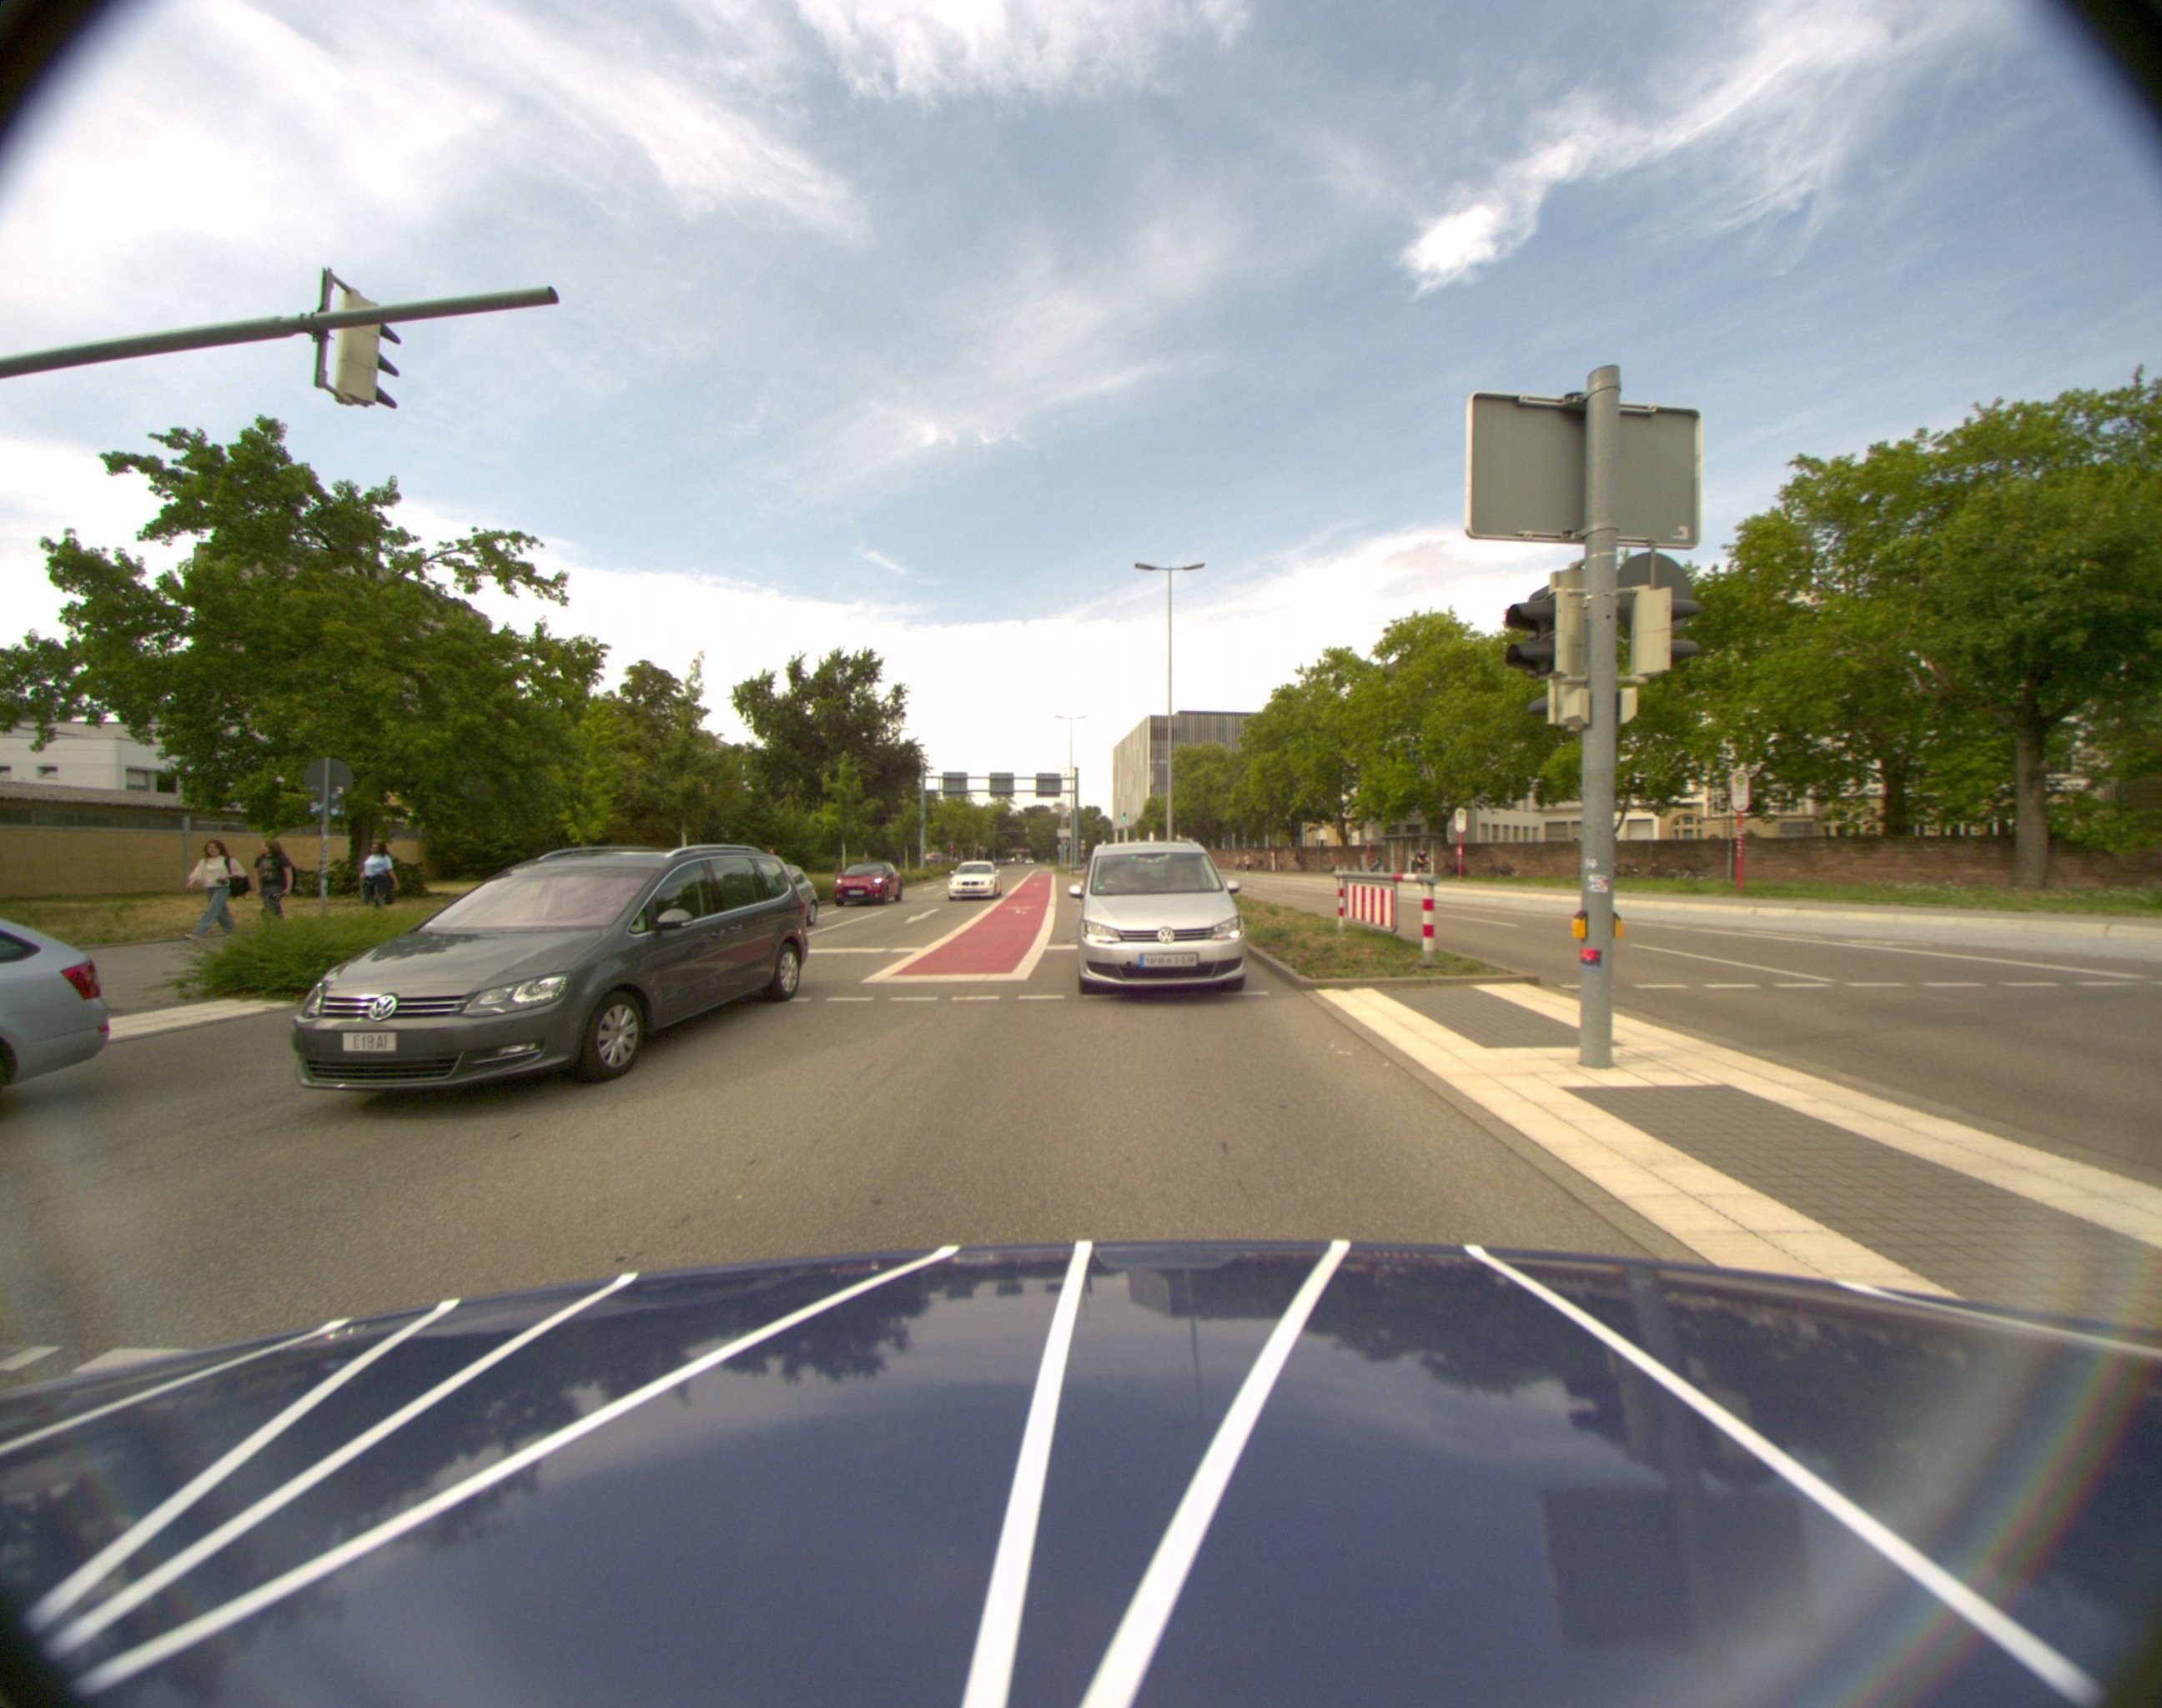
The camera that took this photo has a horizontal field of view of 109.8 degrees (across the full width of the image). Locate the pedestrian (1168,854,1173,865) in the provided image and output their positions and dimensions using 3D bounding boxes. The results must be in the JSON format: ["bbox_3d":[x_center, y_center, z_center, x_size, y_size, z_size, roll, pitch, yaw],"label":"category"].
[{"bbox_3d":[11.358,0.707,96.359,0.402,1.449,0.473,-2,1,-8],"label":"pedestrian"}]

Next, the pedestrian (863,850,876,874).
[{"bbox_3d":[-15.654,0.570,56.196,0.714,1.701,0.695,-2,1,-2],"label":"pedestrian"}]

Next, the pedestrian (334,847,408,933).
[{"bbox_3d":[-14.618,0.715,15.664,0.714,1.701,0.799,-2,1,-6],"label":"pedestrian"}]

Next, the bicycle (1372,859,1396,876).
[{"bbox_3d":[21.927,0.971,54.999,2.103,1.182,0.756,3,-1,-42],"label":"bicycle"}]

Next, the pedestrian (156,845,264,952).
[{"bbox_3d":[-14.660,0.723,12.824,0.840,1.701,0.798,-2,1,-17],"label":"pedestrian"}]

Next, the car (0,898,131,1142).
[{"bbox_3d":[-7.643,1.094,3.066,1.824,1.466,4.528,-2,1,1],"label":"car"}]

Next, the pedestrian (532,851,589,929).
[{"bbox_3d":[-11.855,0.803,17.330,0.734,1.701,0.693,-2,1,1],"label":"pedestrian"}]

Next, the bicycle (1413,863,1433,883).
[{"bbox_3d":[17.504,0.958,38.875,0.505,0.930,1.973,0,2,11],"label":"bicycle"}]

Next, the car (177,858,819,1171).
[{"bbox_3d":[-4.085,0.924,6.603,1.759,1.641,4.686,-2,1,2],"label":"car"}]

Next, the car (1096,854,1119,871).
[{"bbox_3d":[2.447,0.780,70.362,1.789,1.481,4.129,2,0,-2],"label":"car"}]

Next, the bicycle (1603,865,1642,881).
[{"bbox_3d":[29.345,1.022,41.227,0.359,0.859,1.806,2,-1,-23],"label":"bicycle"}]

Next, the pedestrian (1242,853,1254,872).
[{"bbox_3d":[14.625,0.722,66.514,0.755,1.612,0.665,-2,1,-8],"label":"pedestrian"}]

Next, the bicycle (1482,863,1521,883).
[{"bbox_3d":[26.189,1.182,47.393,0.760,1.182,2.094,2,-1,-24],"label":"bicycle"}]

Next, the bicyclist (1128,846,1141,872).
[{"bbox_3d":[3.491,0.336,49.830,0.777,1.701,1.086,2,-1,1],"label":"bicyclist"}]

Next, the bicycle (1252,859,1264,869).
[{"bbox_3d":[17.425,0.975,74.794,0.433,0.882,1.574,-4,0,-13],"label":"bicycle"}]

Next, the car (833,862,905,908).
[{"bbox_3d":[-7.374,1.033,26.737,1.671,1.407,3.456,-2,1,-3],"label":"car"}]

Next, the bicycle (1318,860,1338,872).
[{"bbox_3d":[20.418,1.002,62.819,0.662,0.882,1.573,-4,1,-22],"label":"bicycle"}]

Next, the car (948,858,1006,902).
[{"bbox_3d":[-3.922,0.940,29.315,1.759,1.450,4.222,-2,1,-2],"label":"car"}]

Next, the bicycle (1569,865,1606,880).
[{"bbox_3d":[28.588,1.034,42.906,0.359,0.859,1.819,2,-1,-25],"label":"bicycle"}]

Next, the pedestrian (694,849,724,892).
[{"bbox_3d":[-15.093,0.656,30.860,0.842,1.701,0.694,-2,1,-6],"label":"pedestrian"}]

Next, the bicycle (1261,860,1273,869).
[{"bbox_3d":[17.783,0.981,72.710,0.433,0.882,1.574,-4,0,-13],"label":"bicycle"}]

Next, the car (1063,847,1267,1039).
[{"bbox_3d":[0.880,0.806,9.305,1.823,1.724,4.529,-2,1,3],"label":"car"}]

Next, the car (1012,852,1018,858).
[{"bbox_3d":[-21.932,0.403,252.952,1.999,2.002,3.998,-2,1,-4],"label":"car"}]

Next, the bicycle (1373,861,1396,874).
[{"bbox_3d":[22.558,0.991,56.551,0.662,0.882,1.573,-4,1,-22],"label":"bicycle"}]

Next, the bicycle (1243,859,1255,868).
[{"bbox_3d":[16.905,0.979,76.449,0.433,0.882,1.574,-4,0,-13],"label":"bicycle"}]

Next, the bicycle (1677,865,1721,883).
[{"bbox_3d":[31.081,0.986,38.254,0.359,0.859,1.705,2,-1,-28],"label":"bicycle"}]

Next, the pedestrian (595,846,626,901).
[{"bbox_3d":[-14.874,0.612,24.036,0.544,1.686,0.694,1,1,-6],"label":"pedestrian"}]

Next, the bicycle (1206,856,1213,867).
[{"bbox_3d":[14.878,0.858,88.206,0.513,1.202,1.395,-2,1,-2],"label":"bicycle"}]

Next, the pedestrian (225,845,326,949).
[{"bbox_3d":[-13.806,0.709,13.057,0.840,1.701,0.798,-2,1,-17],"label":"pedestrian"}]

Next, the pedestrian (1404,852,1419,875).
[{"bbox_3d":[23.458,0.655,53.917,0.569,1.612,0.753,-3,1,-24],"label":"pedestrian"}]

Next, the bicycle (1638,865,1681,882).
[{"bbox_3d":[30.040,1.013,39.482,0.359,0.859,1.887,2,-1,-21],"label":"bicycle"}]

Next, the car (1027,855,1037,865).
[{"bbox_3d":[-10.669,1.306,165.338,1.999,2.002,3.998,-2,1,-4],"label":"car"}]

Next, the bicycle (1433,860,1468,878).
[{"bbox_3d":[24.777,1.002,50.945,0.760,1.182,2.094,2,-1,-24],"label":"bicycle"}]

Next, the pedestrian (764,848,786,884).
[{"bbox_3d":[-14.687,0.561,36.470,0.714,1.701,0.695,-2,1,-2],"label":"pedestrian"}]

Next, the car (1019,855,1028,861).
[{"bbox_3d":[-16.419,1.036,218.003,1.998,1.565,4.000,-2,1,1],"label":"car"}]

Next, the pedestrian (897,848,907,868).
[{"bbox_3d":[-15.649,0.360,66.442,0.714,1.701,0.695,-2,1,-2],"label":"pedestrian"}]

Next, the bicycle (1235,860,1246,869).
[{"bbox_3d":[16.469,1.071,78.292,0.433,0.882,1.574,-4,0,-13],"label":"bicycle"}]

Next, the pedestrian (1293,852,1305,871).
[{"bbox_3d":[19.158,0.635,66.881,0.756,1.612,0.664,-3,1,-43],"label":"pedestrian"}]

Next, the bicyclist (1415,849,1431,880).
[{"bbox_3d":[17.485,0.536,38.820,0.579,1.547,0.798,0,3,12],"label":"bicyclist"}]

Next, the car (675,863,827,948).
[{"bbox_3d":[-6.945,1.015,16.442,1.670,1.481,3.874,-2,1,-2],"label":"car"}]

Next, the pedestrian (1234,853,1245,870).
[{"bbox_3d":[15.388,0.732,73.845,0.755,1.612,0.665,-2,1,-8],"label":"pedestrian"}]
